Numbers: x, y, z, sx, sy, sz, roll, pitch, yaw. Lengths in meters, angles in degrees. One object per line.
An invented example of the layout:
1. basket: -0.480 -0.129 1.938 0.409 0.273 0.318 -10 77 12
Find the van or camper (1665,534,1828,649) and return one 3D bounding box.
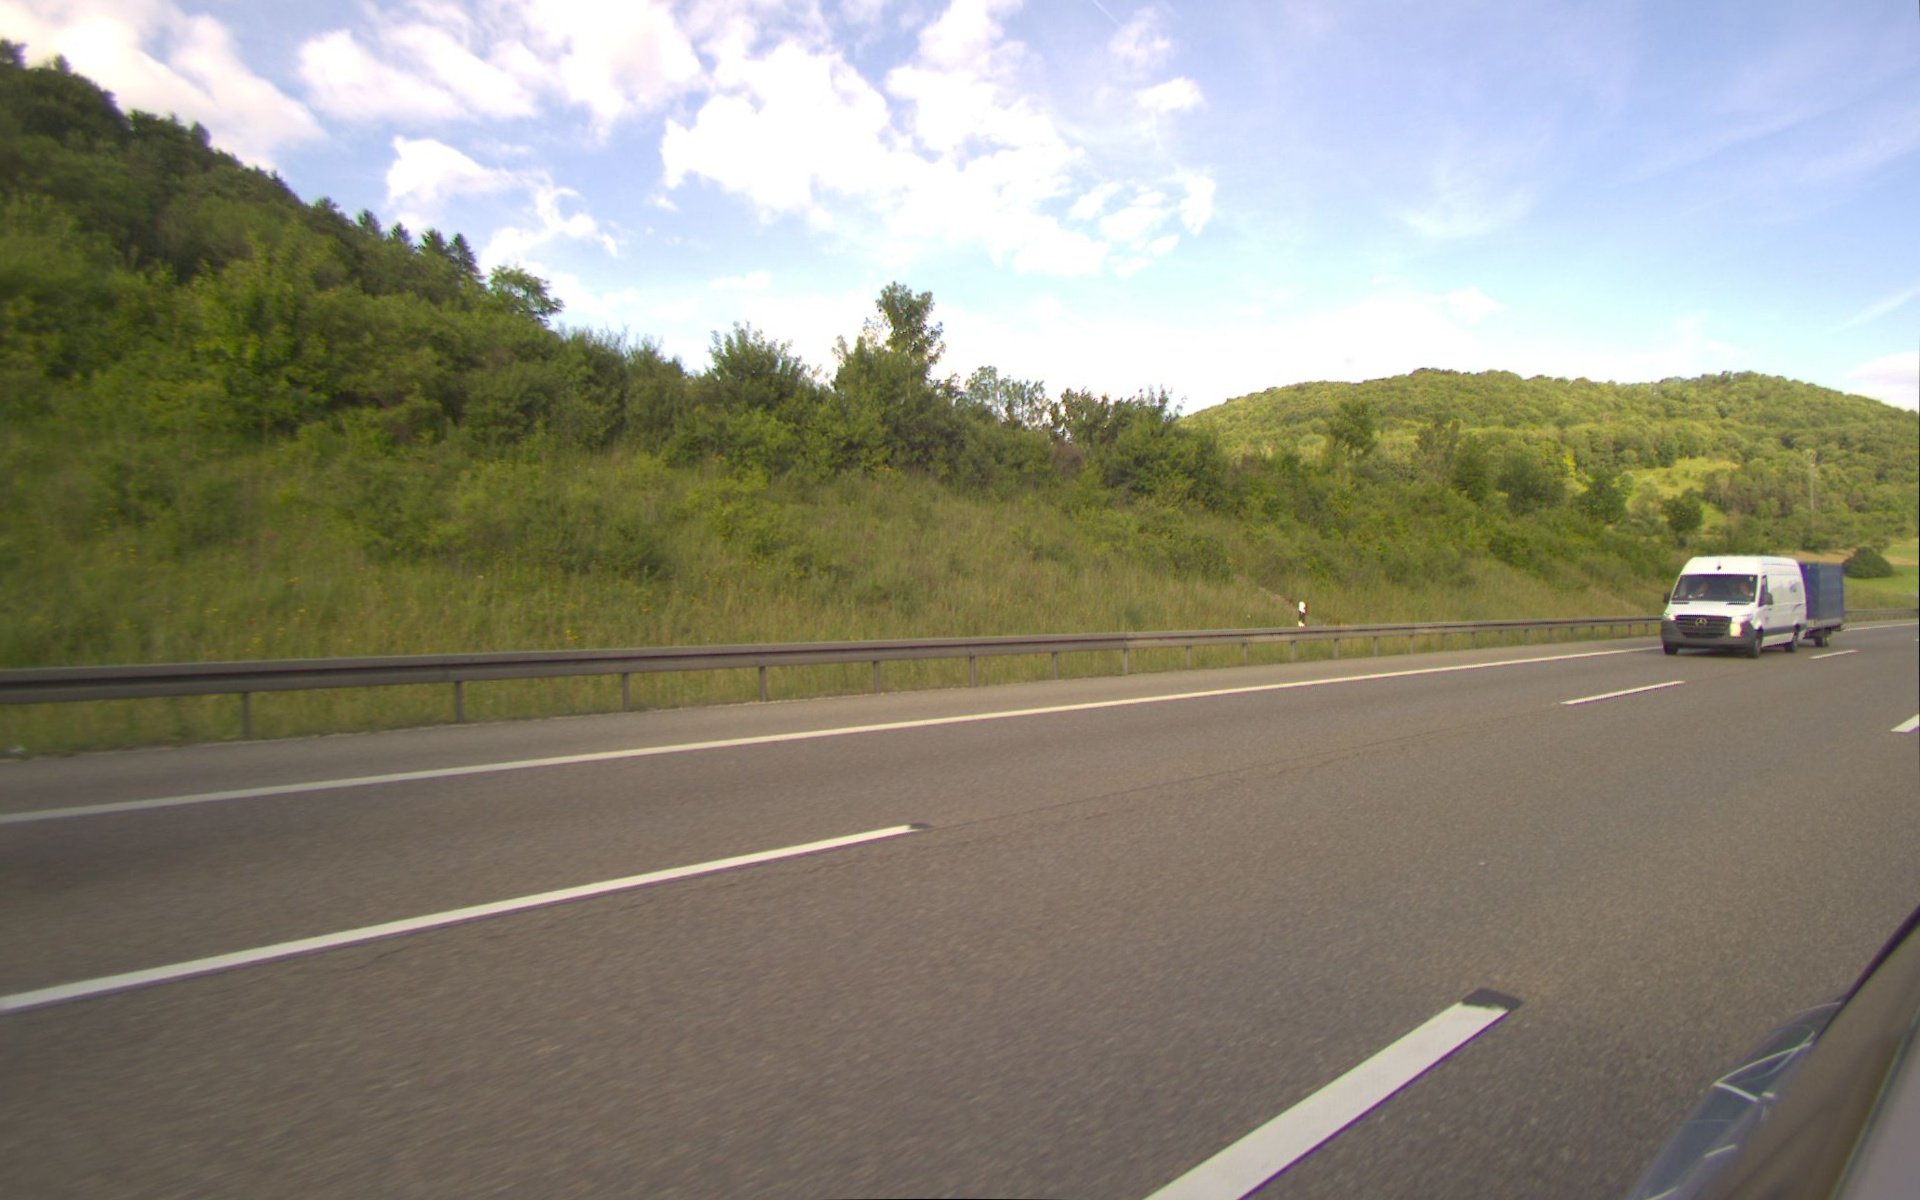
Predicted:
1. van or camper: 21.297 -0.198 27.231 7.389 2.752 1.997 0 0 -41

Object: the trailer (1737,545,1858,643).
1. trailer: 25.669 -0.194 30.967 5.156 2.760 1.997 0 0 -40
